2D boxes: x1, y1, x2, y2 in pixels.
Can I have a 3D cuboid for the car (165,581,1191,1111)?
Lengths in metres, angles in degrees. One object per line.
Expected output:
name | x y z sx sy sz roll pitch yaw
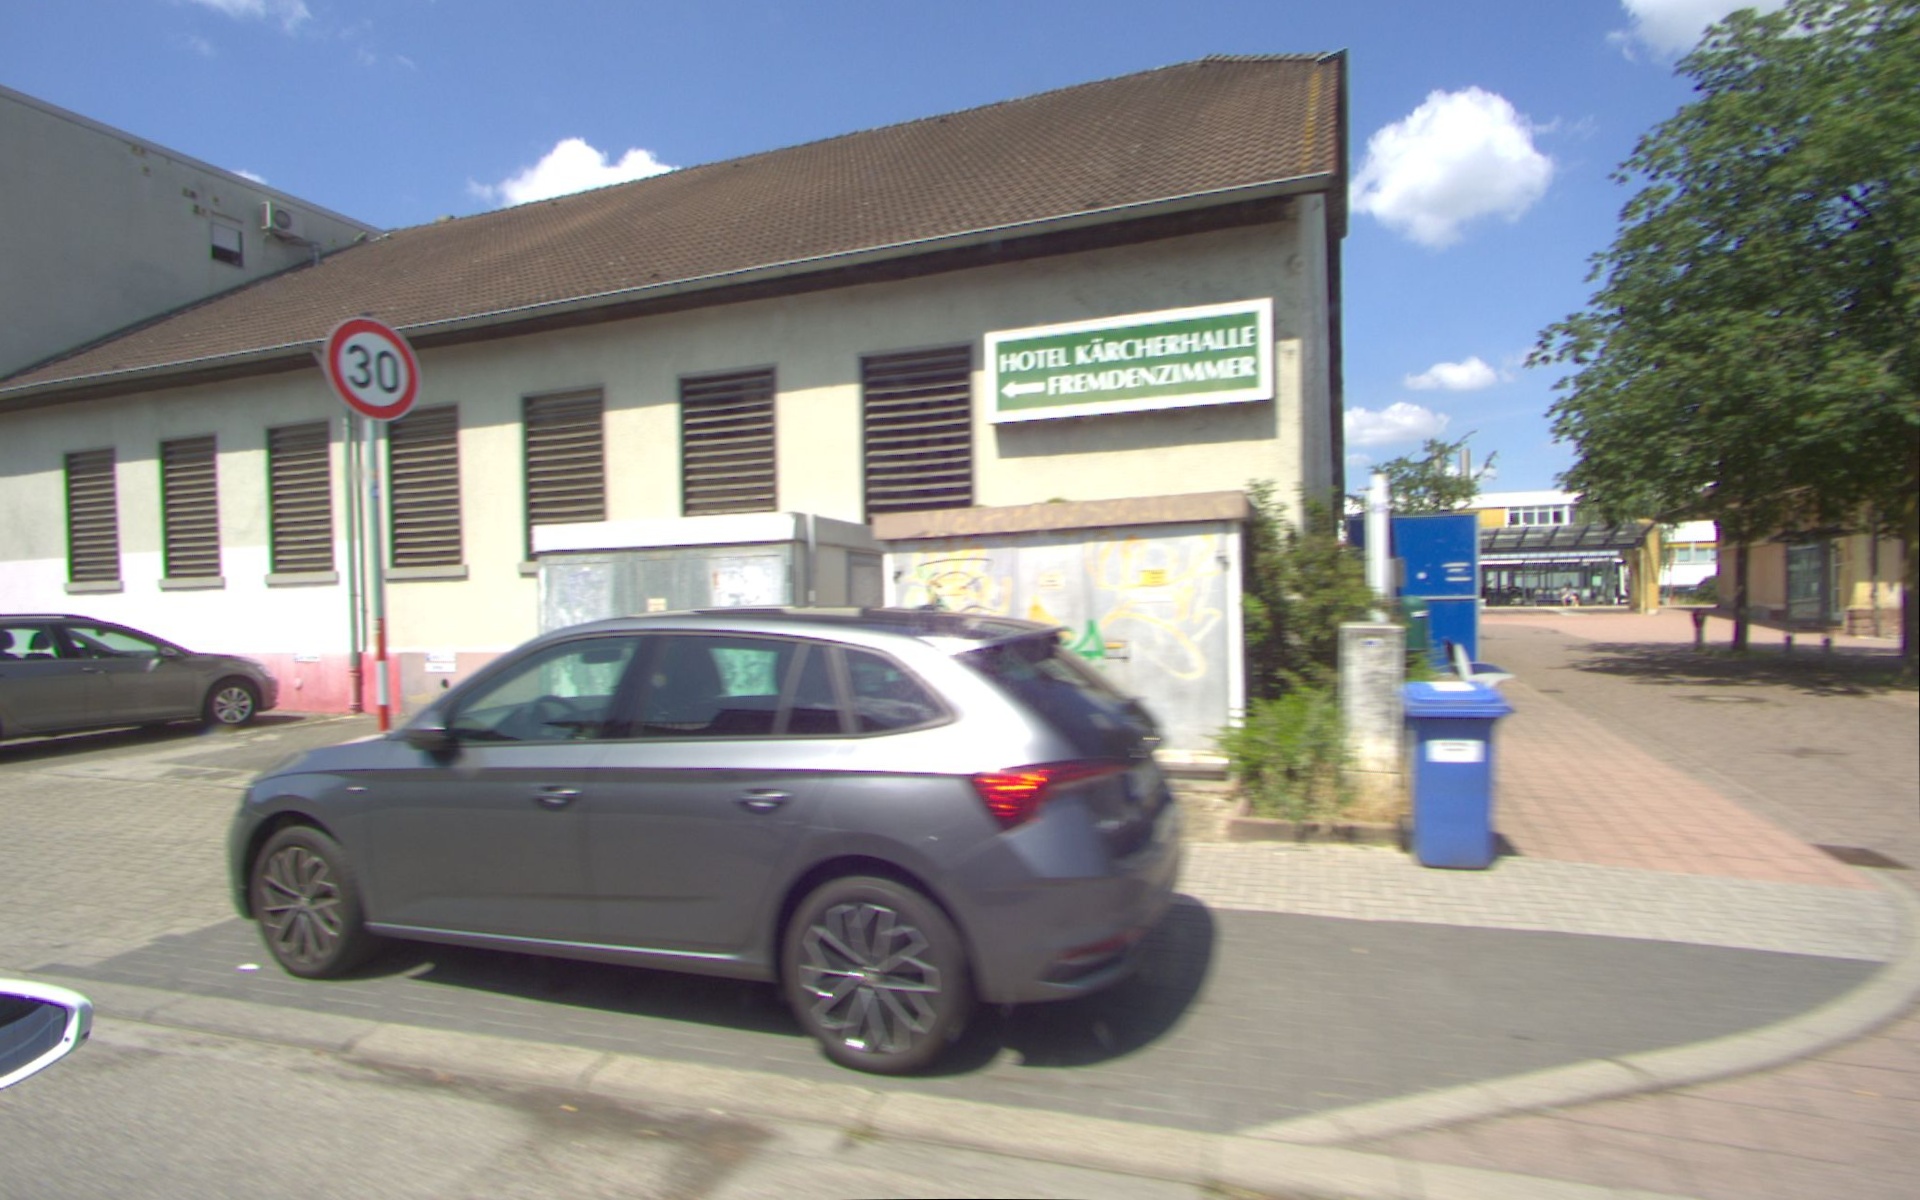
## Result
car | -1.180 0.717 4.312 4.067 1.509 1.629 -1 1 20

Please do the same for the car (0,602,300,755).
car | -10.315 0.830 11.271 1.885 1.474 4.528 -1 1 22
